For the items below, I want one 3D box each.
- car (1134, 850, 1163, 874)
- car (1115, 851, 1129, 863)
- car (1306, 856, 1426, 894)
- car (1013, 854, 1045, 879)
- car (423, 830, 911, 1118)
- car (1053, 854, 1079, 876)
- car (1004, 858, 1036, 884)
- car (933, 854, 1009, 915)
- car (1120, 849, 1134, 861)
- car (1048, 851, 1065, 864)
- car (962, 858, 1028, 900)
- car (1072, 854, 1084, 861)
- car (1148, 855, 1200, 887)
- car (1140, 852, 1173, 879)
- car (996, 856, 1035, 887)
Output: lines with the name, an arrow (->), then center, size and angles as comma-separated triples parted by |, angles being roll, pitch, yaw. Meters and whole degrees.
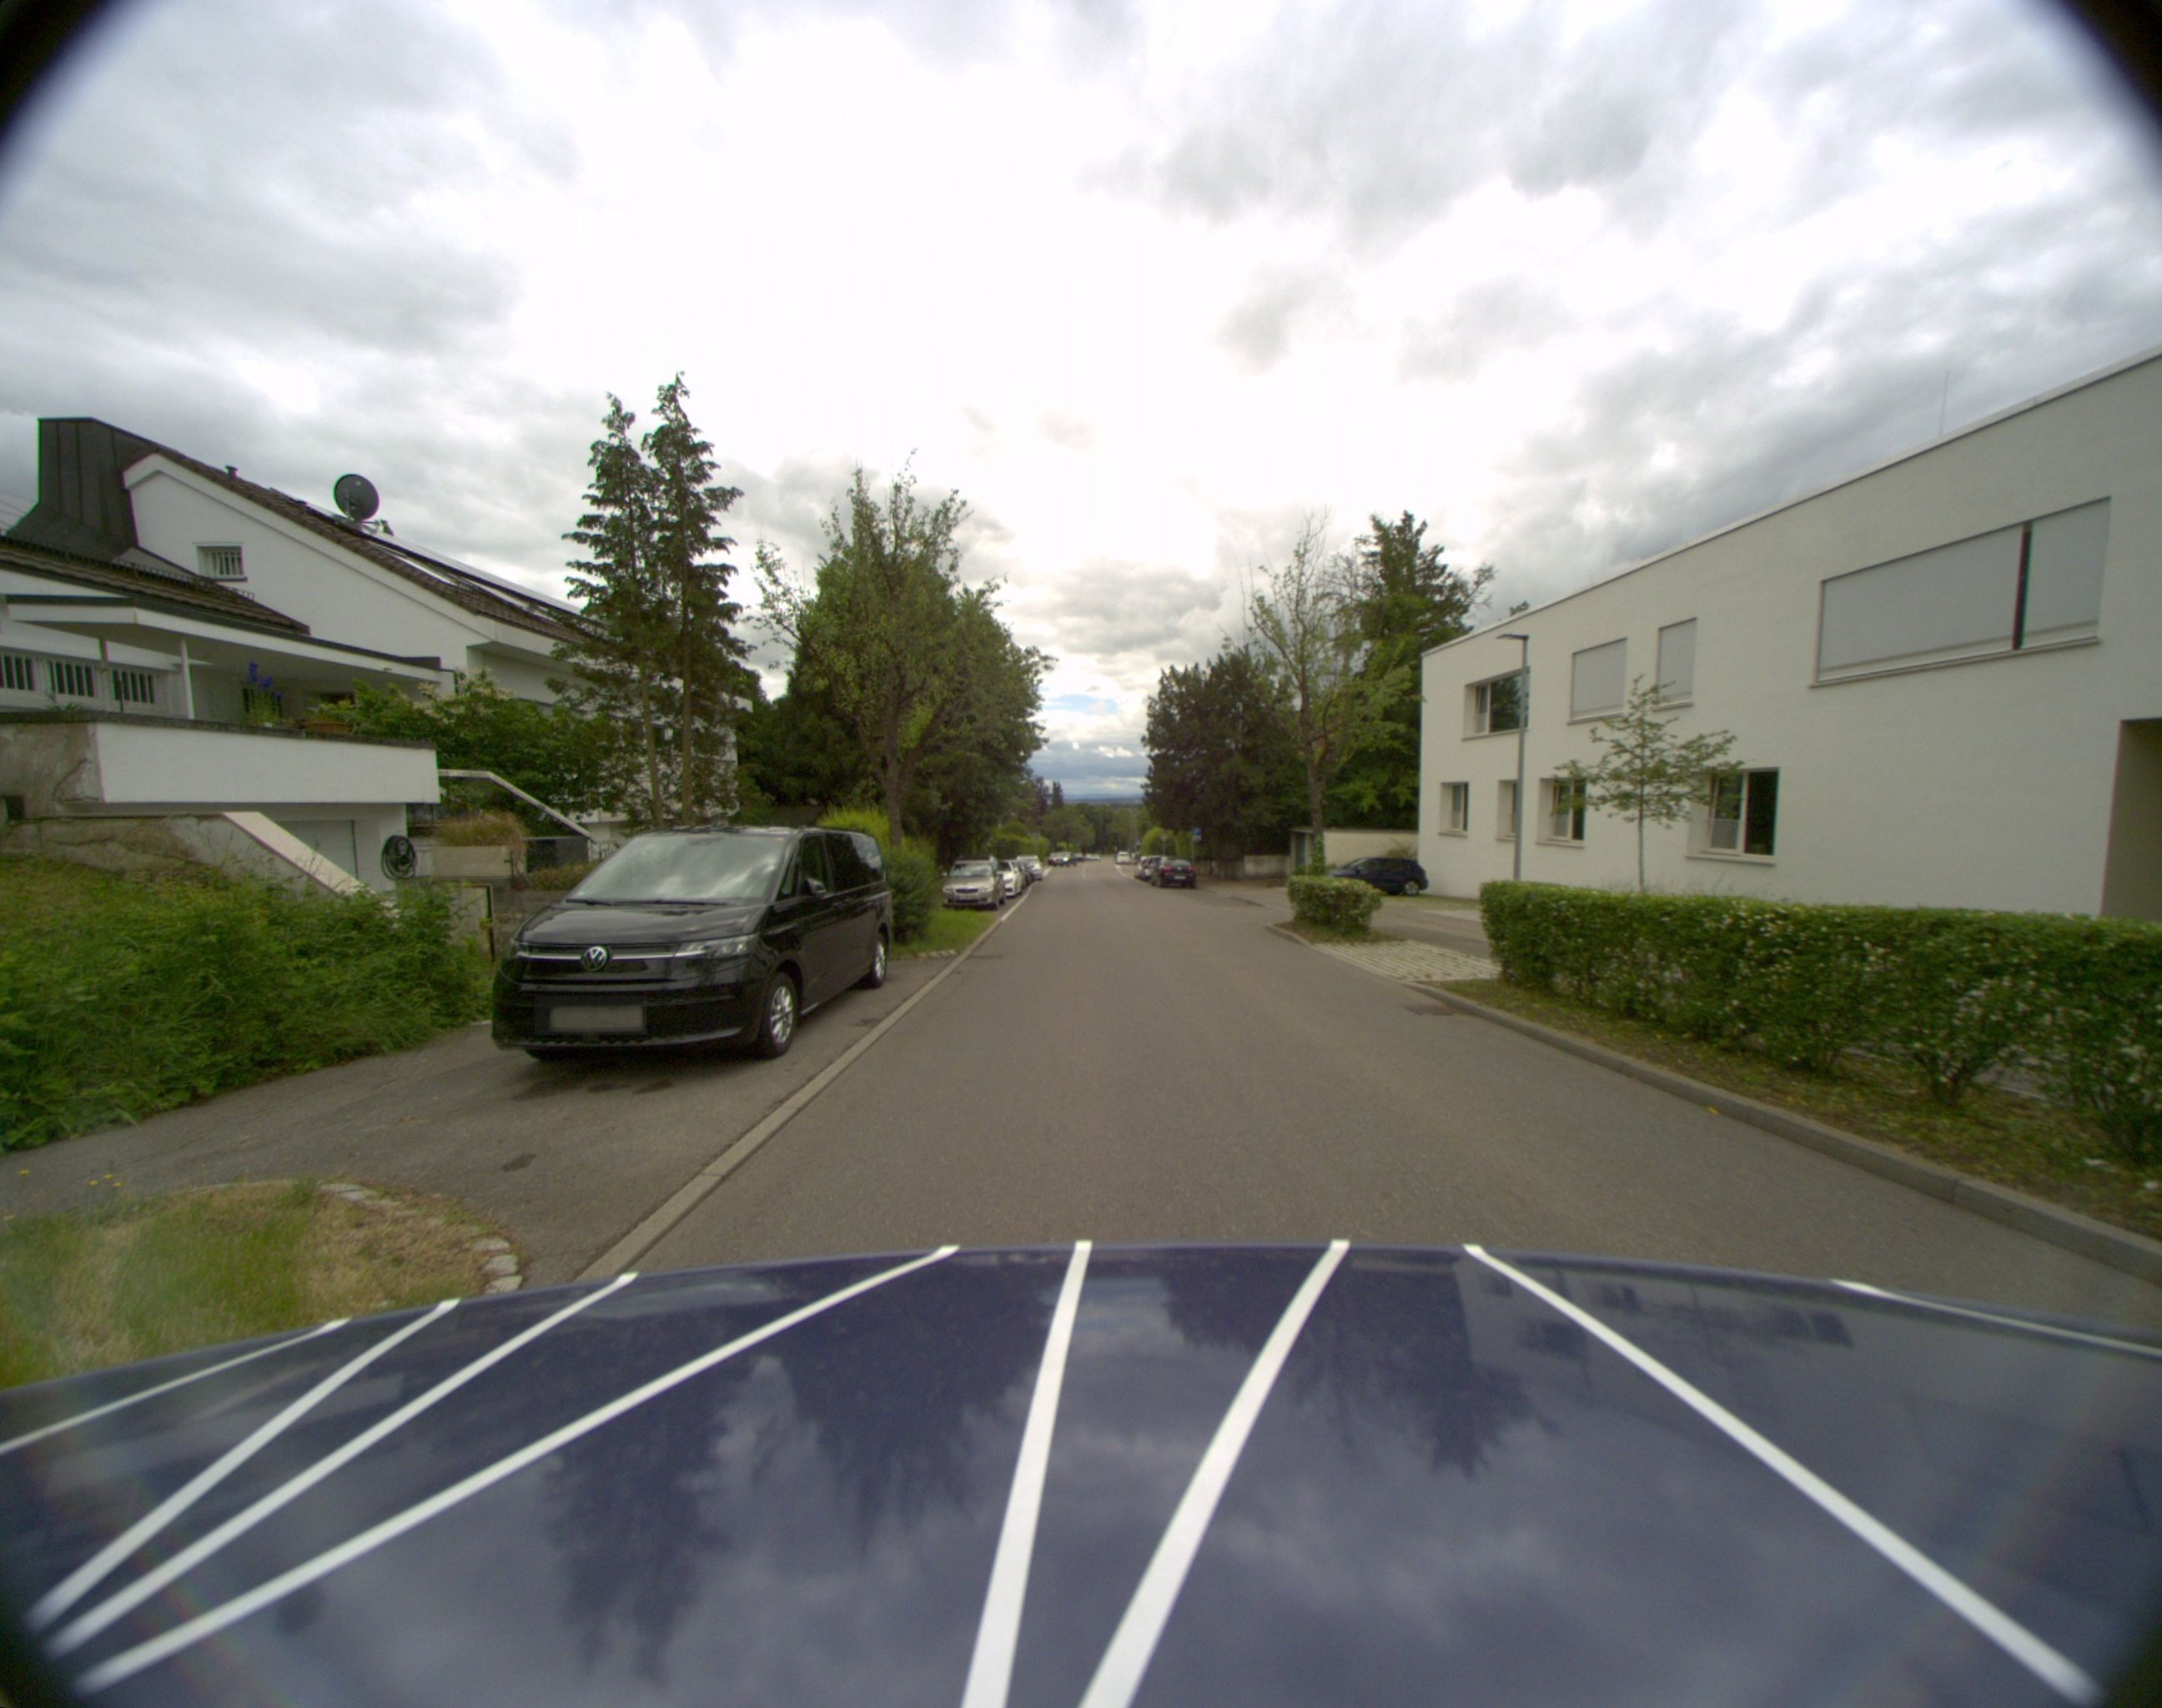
car -> 4.426, 0.532, 49.581 | 1.748, 1.439, 3.515 | 2, 0, 6
car -> 5.361, 0.371, 99.383 | 1.786, 1.481, 4.739 | 3, 1, 3
car -> 10.576, 0.767, 28.360 | 3.804, 1.346, 1.741 | -1, 1, -1
car -> -3.521, 0.806, 50.503 | 2.007, 1.599, 4.756 | 0, 0, -5
car -> -3.225, 0.755, 7.468 | 1.941, 1.827, 5.218 | -1, 0, 0
car -> -1.540, 1.129, 79.952 | 1.998, 2.002, 4.001 | -7, 0, 6
car -> -3.694, 0.963, 45.832 | 1.815, 1.444, 4.376 | 0, 0, -5
car -> -3.275, 0.873, 23.367 | 1.721, 1.623, 3.928 | -2, 0, 0
car -> 5.691, 0.100, 94.179 | 1.693, 1.411, 3.580 | 2, 0, 3
car -> -2.966, 0.414, 93.187 | 1.794, 1.480, 4.379 | 0, 0, 3
car -> -3.299, 0.921, 30.081 | 1.998, 1.483, 5.004 | 0, 0, 0
car -> -0.458, 0.598, 140.781 | 1.998, 1.221, 4.000 | 0, 0, 3
car -> 4.537, 0.815, 37.735 | 1.855, 1.461, 4.682 | 0, 0, -2
car -> 4.507, 0.666, 45.646 | 1.628, 1.510, 2.974 | 0, 1, -2
car -> -3.485, 0.913, 40.859 | 1.702, 1.499, 4.159 | -2, 0, 0
